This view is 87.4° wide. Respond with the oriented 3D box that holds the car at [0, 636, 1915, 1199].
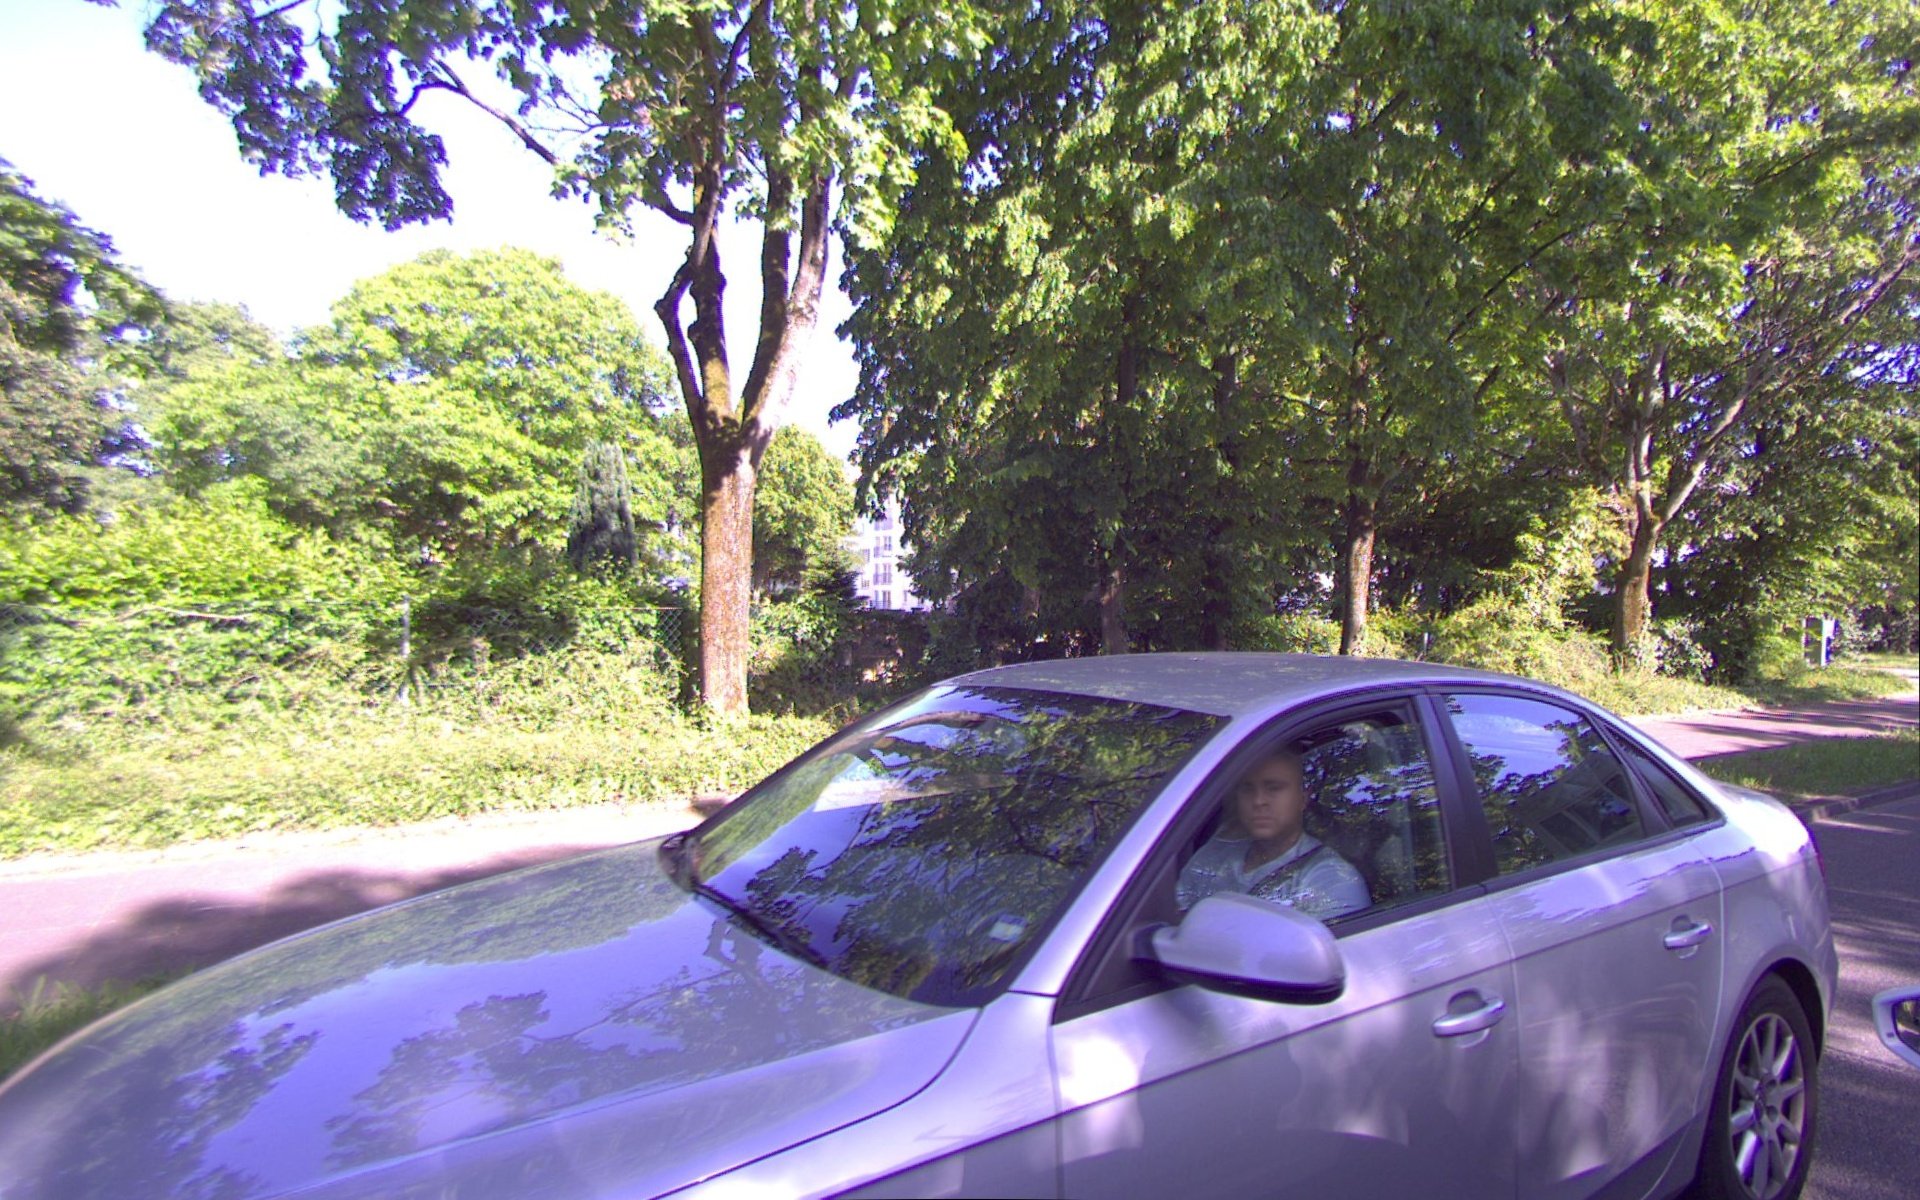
[{"bbox_3d":[0.504,0.829,2.518,4.058,1.435,1.777,1,-2,-32],"label":"car"}]
